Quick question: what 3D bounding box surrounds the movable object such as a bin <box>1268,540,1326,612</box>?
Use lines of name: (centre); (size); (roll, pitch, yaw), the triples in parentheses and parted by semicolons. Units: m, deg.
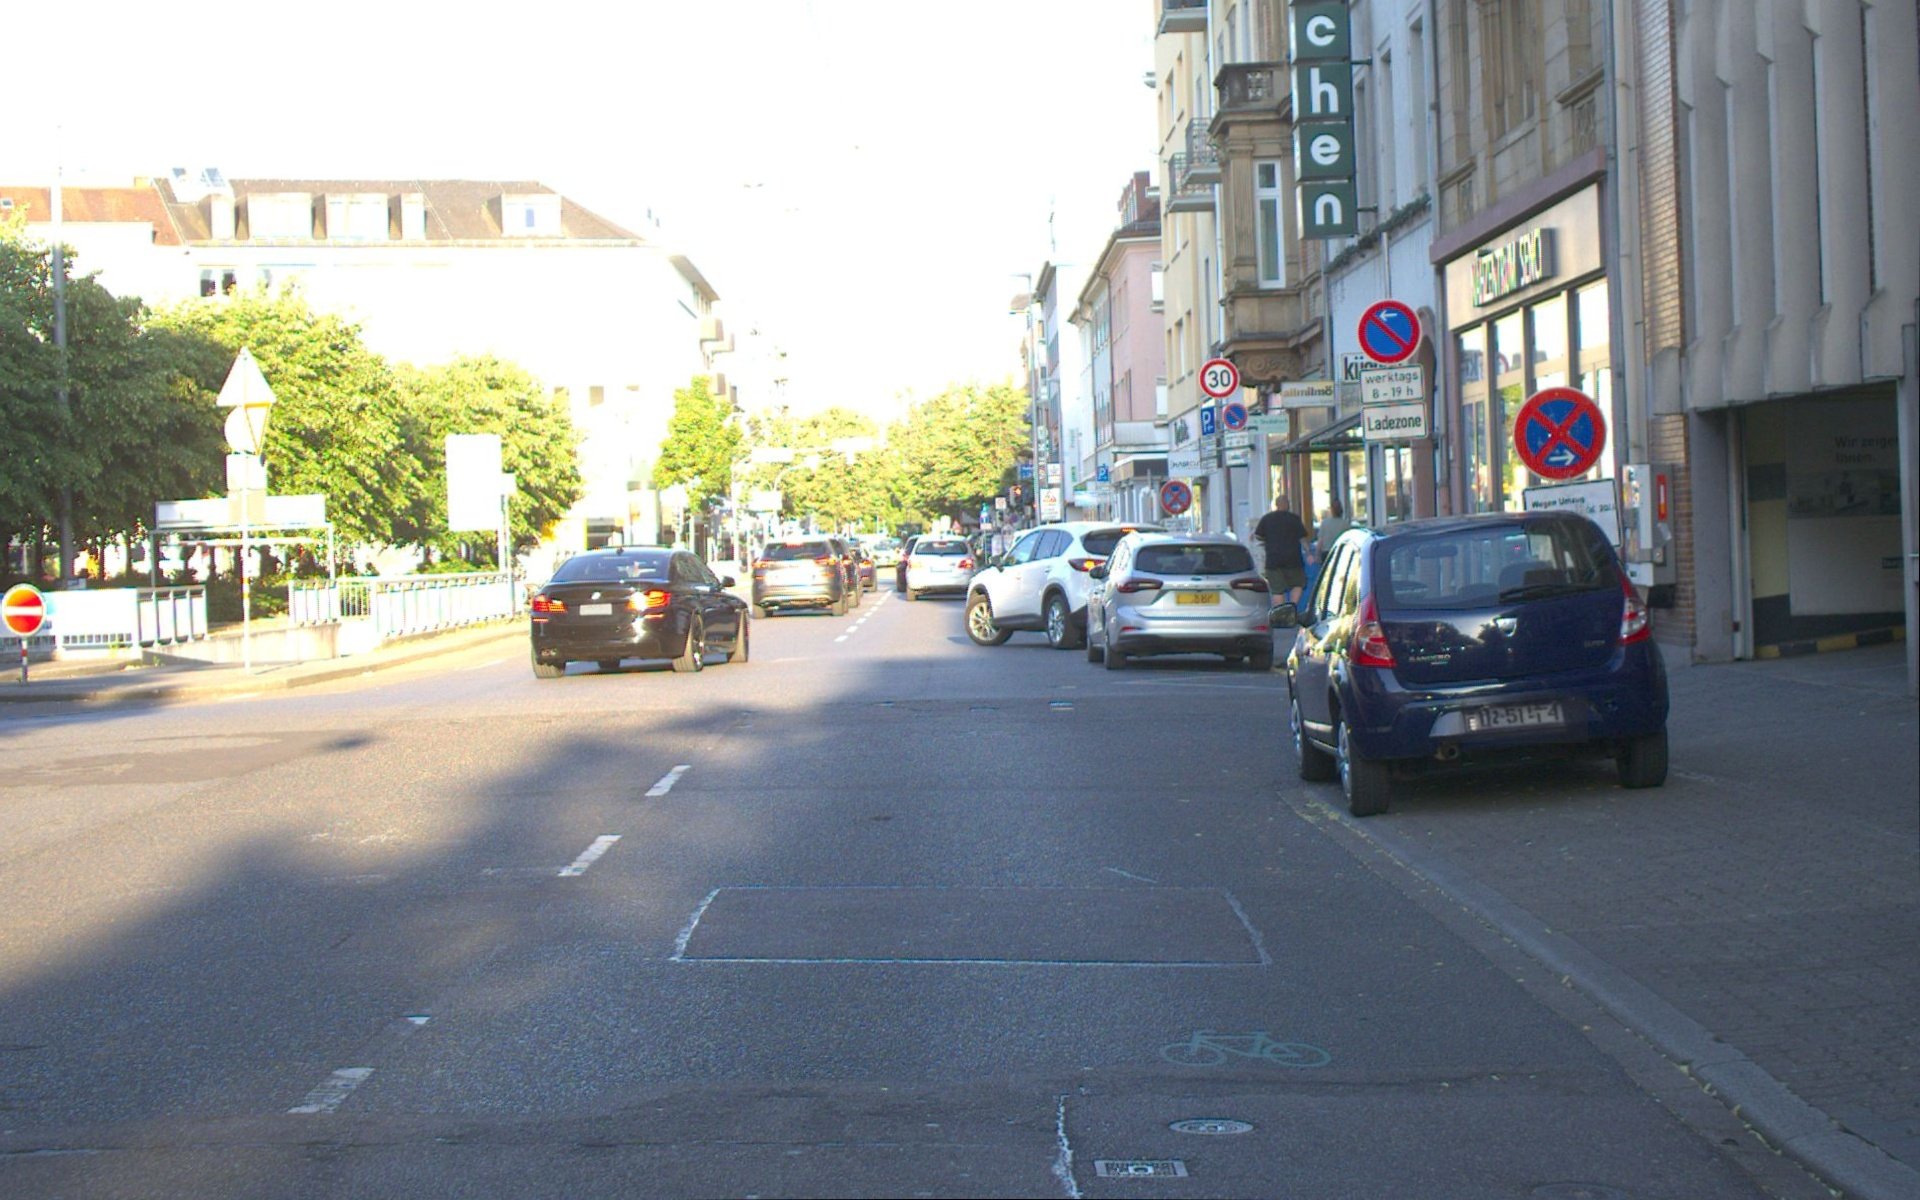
movable object such as a bin: (5.250, -0.376, 53.648); (0.774, 1.066, 0.618); (-4, 1, -1)

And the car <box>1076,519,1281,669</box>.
car: (2.336, -0.084, 37.845); (1.759, 1.531, 4.822); (0, 0, -2)

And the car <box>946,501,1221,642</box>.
car: (1.594, -0.383, 46.359); (1.993, 1.755, 4.467); (-2, 1, -22)

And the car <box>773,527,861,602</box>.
car: (-3.286, -0.829, 79.426); (1.896, 1.644, 4.104); (-1, 1, -1)

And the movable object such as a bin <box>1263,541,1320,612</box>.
movable object such as a bin: (5.235, -0.369, 54.364); (0.774, 1.066, 0.618); (-4, 1, -1)

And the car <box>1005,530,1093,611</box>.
car: (1.843, -0.619, 72.044); (1.730, 1.645, 4.284); (0, 0, 0)

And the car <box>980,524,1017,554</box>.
car: (2.133, -3.372, 189.742); (1.896, 1.575, 3.852); (-2, 1, -1)

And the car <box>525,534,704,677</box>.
car: (-3.964, 0.031, 39.966); (1.896, 1.575, 4.001); (0, 1, -3)

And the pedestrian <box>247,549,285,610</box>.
pedestrian: (-18.242, -0.541, 90.368); (0.791, 1.589, 0.567); (-1, 1, 19)

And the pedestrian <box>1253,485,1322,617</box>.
pedestrian: (4.654, -0.700, 48.964); (0.772, 1.821, 1.011); (-3, 1, -1)

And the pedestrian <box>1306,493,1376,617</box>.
pedestrian: (5.436, -0.648, 49.102); (0.772, 1.705, 1.042); (-3, 1, -1)

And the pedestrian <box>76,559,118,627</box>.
pedestrian: (-20.471, -0.167, 81.590); (0.678, 1.589, 0.676); (-1, 1, 19)

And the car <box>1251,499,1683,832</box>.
car: (2.711, 0.288, 19.229); (1.759, 1.531, 4.000); (-5, 1, 1)

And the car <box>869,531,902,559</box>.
car: (-4.200, -3.132, 194.420); (1.779, 1.542, 4.000); (-1, 1, -1)

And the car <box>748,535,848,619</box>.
car: (-3.317, -0.495, 71.194); (1.896, 1.644, 4.104); (-1, 1, -1)

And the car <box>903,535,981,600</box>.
car: (-0.476, -0.822, 85.901); (1.896, 1.575, 4.000); (0, 1, -1)

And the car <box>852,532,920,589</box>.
car: (-2.127, -1.160, 99.306); (1.896, 1.575, 3.852); (1, 1, -1)
